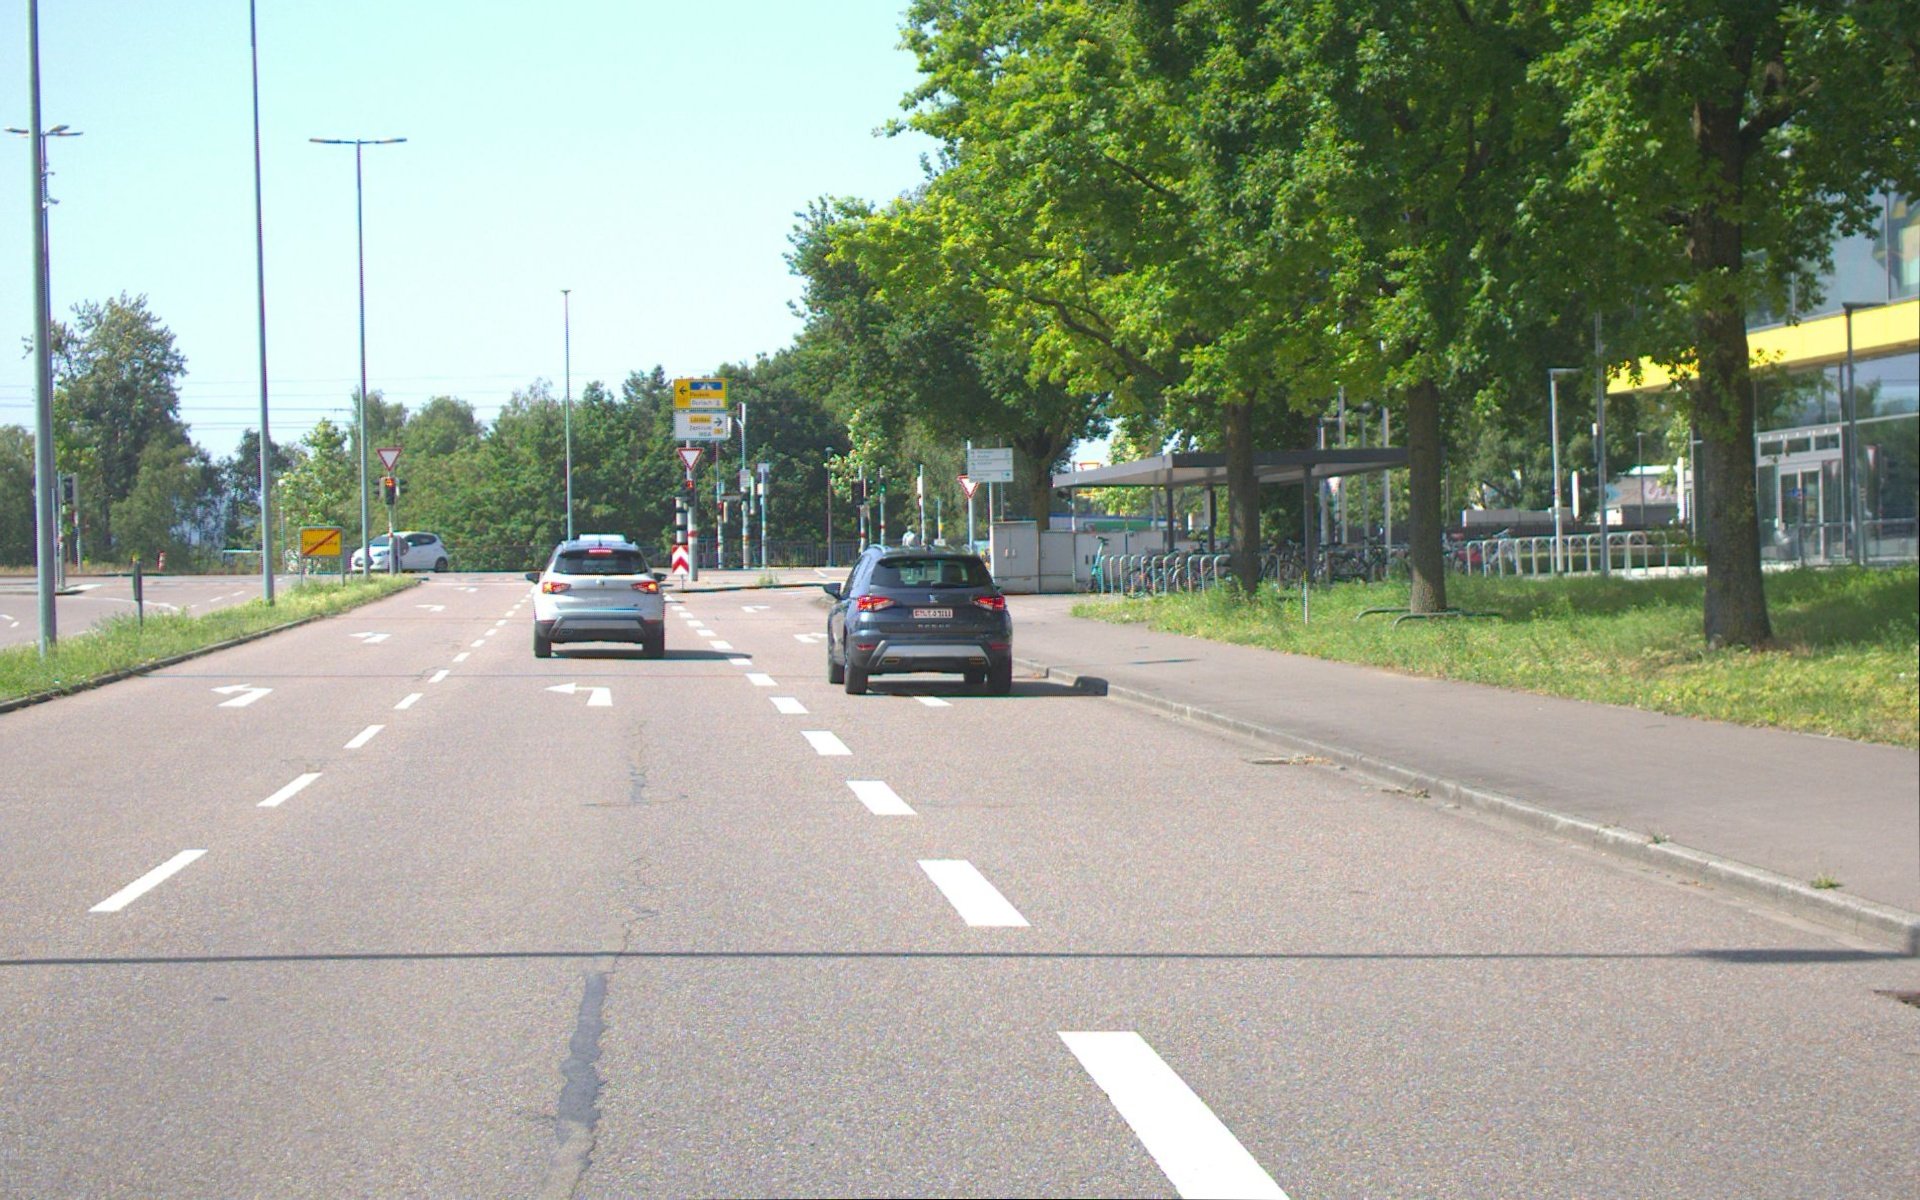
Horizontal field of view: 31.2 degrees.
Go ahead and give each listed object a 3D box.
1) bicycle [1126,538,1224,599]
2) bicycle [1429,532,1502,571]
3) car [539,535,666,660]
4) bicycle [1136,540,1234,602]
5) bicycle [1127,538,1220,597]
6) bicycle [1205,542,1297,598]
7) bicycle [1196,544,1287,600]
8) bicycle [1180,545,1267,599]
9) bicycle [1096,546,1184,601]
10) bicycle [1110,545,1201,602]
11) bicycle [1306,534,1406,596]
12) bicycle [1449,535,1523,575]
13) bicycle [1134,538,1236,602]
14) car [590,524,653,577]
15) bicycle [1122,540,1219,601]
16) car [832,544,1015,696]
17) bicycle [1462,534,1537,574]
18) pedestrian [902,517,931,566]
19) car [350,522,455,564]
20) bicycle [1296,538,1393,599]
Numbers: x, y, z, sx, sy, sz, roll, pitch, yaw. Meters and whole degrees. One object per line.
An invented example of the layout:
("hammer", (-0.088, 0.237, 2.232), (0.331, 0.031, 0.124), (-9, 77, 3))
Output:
("bicycle", (4.059, -0.601, 64.879), (1.758, 1.092, 0.452), (-2, 1, -6))
("bicycle", (11.438, -1.101, 77.806), (1.561, 0.840, 0.434), (-1, 1, -1))
("car", (-4.807, -0.068, 46.540), (1.630, 1.493, 3.871), (0, 3, -5))
("bicycle", (4.184, -0.538, 63.958), (1.758, 1.092, 0.452), (-2, 1, -6))
("bicycle", (4.208, -0.643, 67.704), (1.758, 1.092, 0.452), (-2, 1, -6))
("bicycle", (6.037, -0.625, 71.366), (1.828, 1.092, 0.452), (-2, 1, -6))
("bicycle", (5.740, -0.576, 70.114), (1.758, 1.092, 0.452), (-2, 1, -6))
("bicycle", (5.568, -0.589, 72.569), (1.758, 1.092, 0.452), (-2, 1, -6))
("bicycle", (3.726, -0.553, 71.263), (1.758, 1.092, 0.452), (-2, 1, -6))
("bicycle", (3.937, -0.534, 69.178), (1.758, 1.092, 0.452), (-2, 1, -6))
("bicycle", (7.373, -0.656, 64.033), (1.758, 1.092, 0.452), (-2, 1, -6))
("bicycle", (11.644, -1.002, 76.132), (1.561, 0.840, 0.434), (-1, 1, -4))
("bicycle", (4.050, -0.543, 61.960), (1.758, 1.092, 0.452), (-2, 1, -6))
("car", (-9.571, -1.414, 97.087), (1.741, 1.443, 4.390), (0, 1, -6))
("bicycle", (4.000, -0.565, 65.427), (1.758, 1.092, 0.452), (-2, 1, -6))
("car", (-0.425, 0.172, 36.174), (1.669, 1.518, 3.377), (0, 1, -5))
("bicycle", (11.778, -0.999, 75.042), (1.561, 0.840, 0.434), (-1, 1, -4))
("pedestrian", (-1.383, -1.870, 109.368), (0.773, 1.505, 1.007), (-1, 2, 5))
("car", (-20.664, -2.110, 127.564), (1.796, 1.541, 4.081), (0, 1, 27))
("bicycle", (7.295, -0.598, 65.220), (1.758, 1.092, 0.452), (-2, 1, -6))
